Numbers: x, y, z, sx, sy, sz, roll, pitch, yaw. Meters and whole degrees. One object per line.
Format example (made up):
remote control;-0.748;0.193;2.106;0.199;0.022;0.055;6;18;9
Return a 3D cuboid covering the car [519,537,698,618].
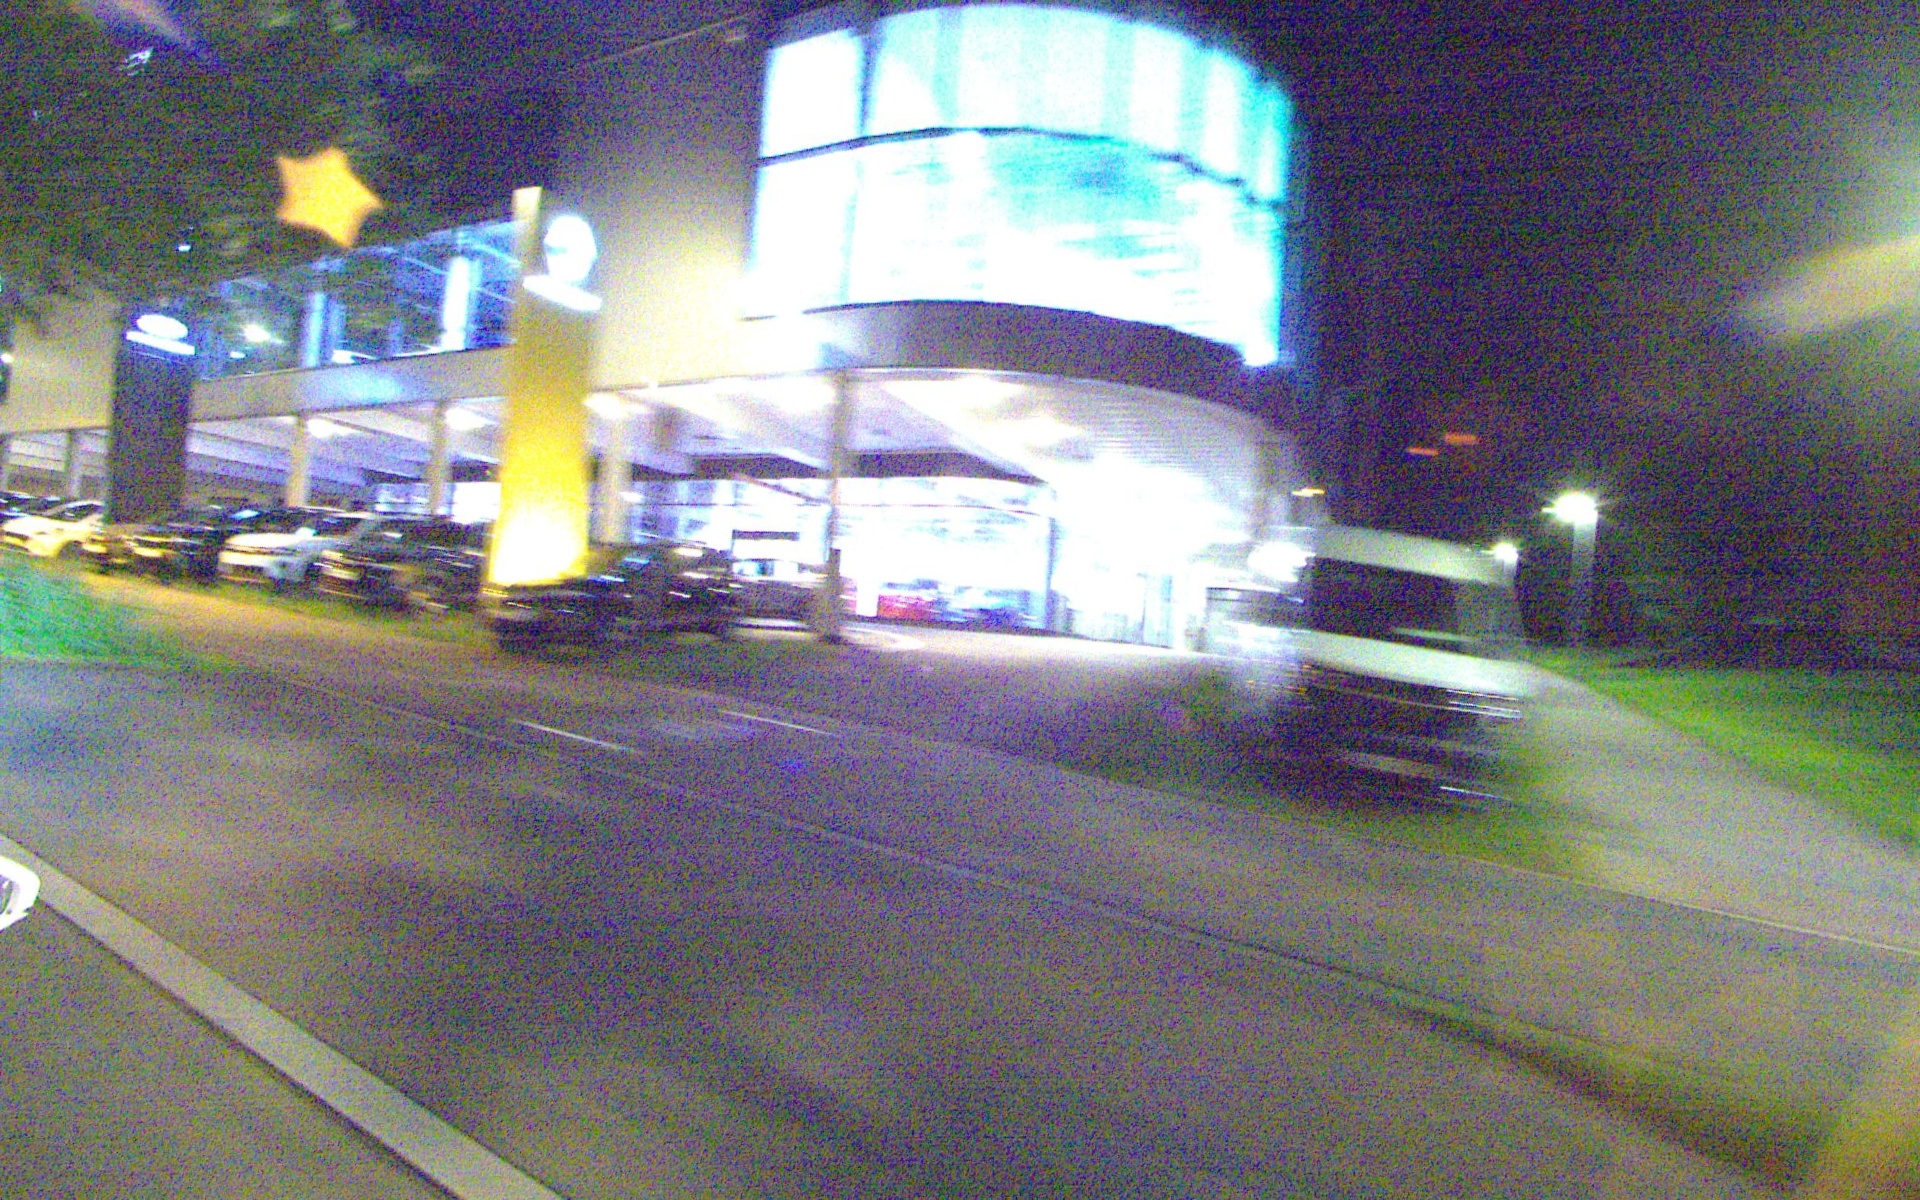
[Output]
car;-7.827;-0.478;22.652;3.440;1.440;1.637;5;0;-7

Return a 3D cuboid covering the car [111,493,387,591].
car;-13.795;-1.060;19.818;1.820;1.590;4.087;7;3;20

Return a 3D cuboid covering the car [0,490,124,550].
car;-25.283;-2.191;27.021;1.791;1.392;4.032;6;2;15

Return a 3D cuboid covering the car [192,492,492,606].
car;-11.258;-0.890;18.752;1.963;1.710;4.467;7;3;20

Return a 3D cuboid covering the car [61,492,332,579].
car;-16.433;-1.329;21.959;1.737;1.569;4.467;5;3;21

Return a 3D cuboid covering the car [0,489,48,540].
car;-29.995;-2.715;29.879;1.791;1.409;4.000;7;1;8

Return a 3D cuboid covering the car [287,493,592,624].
car;-8.813;-0.608;17.531;1.963;1.833;4.471;7;1;20

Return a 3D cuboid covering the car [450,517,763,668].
car;-4.854;-0.082;14.512;1.924;1.685;4.212;6;1;20

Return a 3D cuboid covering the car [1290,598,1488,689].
car;10.161;0.993;24.107;3.891;1.624;1.780;6;4;8

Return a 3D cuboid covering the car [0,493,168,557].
car;-23.008;-1.919;25.918;1.684;1.398;3.775;6;3;17

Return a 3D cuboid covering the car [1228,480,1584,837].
car;4.212;0.325;10.824;2.240;2.565;6.028;6;4;14

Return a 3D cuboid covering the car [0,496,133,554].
car;-34.598;-2.873;38.766;3.803;1.818;1.586;4;-1;-10

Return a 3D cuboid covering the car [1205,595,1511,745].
car;5.912;0.992;15.402;3.891;1.734;1.810;6;2;8

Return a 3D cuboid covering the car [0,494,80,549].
car;-27.981;-2.374;28.636;1.775;1.399;3.997;7;1;20

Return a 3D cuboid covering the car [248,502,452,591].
car;-18.254;-1.565;30.303;4.743;1.940;1.834;7;-1;-6

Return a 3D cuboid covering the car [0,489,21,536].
car;-32.264;-2.972;31.354;1.798;1.489;4.000;6;1;11

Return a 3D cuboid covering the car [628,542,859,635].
car;-4.323;-0.234;20.543;4.367;1.531;1.716;4;2;-9

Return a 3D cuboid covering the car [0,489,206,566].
car;-20.923;-1.713;24.459;1.685;1.472;3.812;6;2;17
